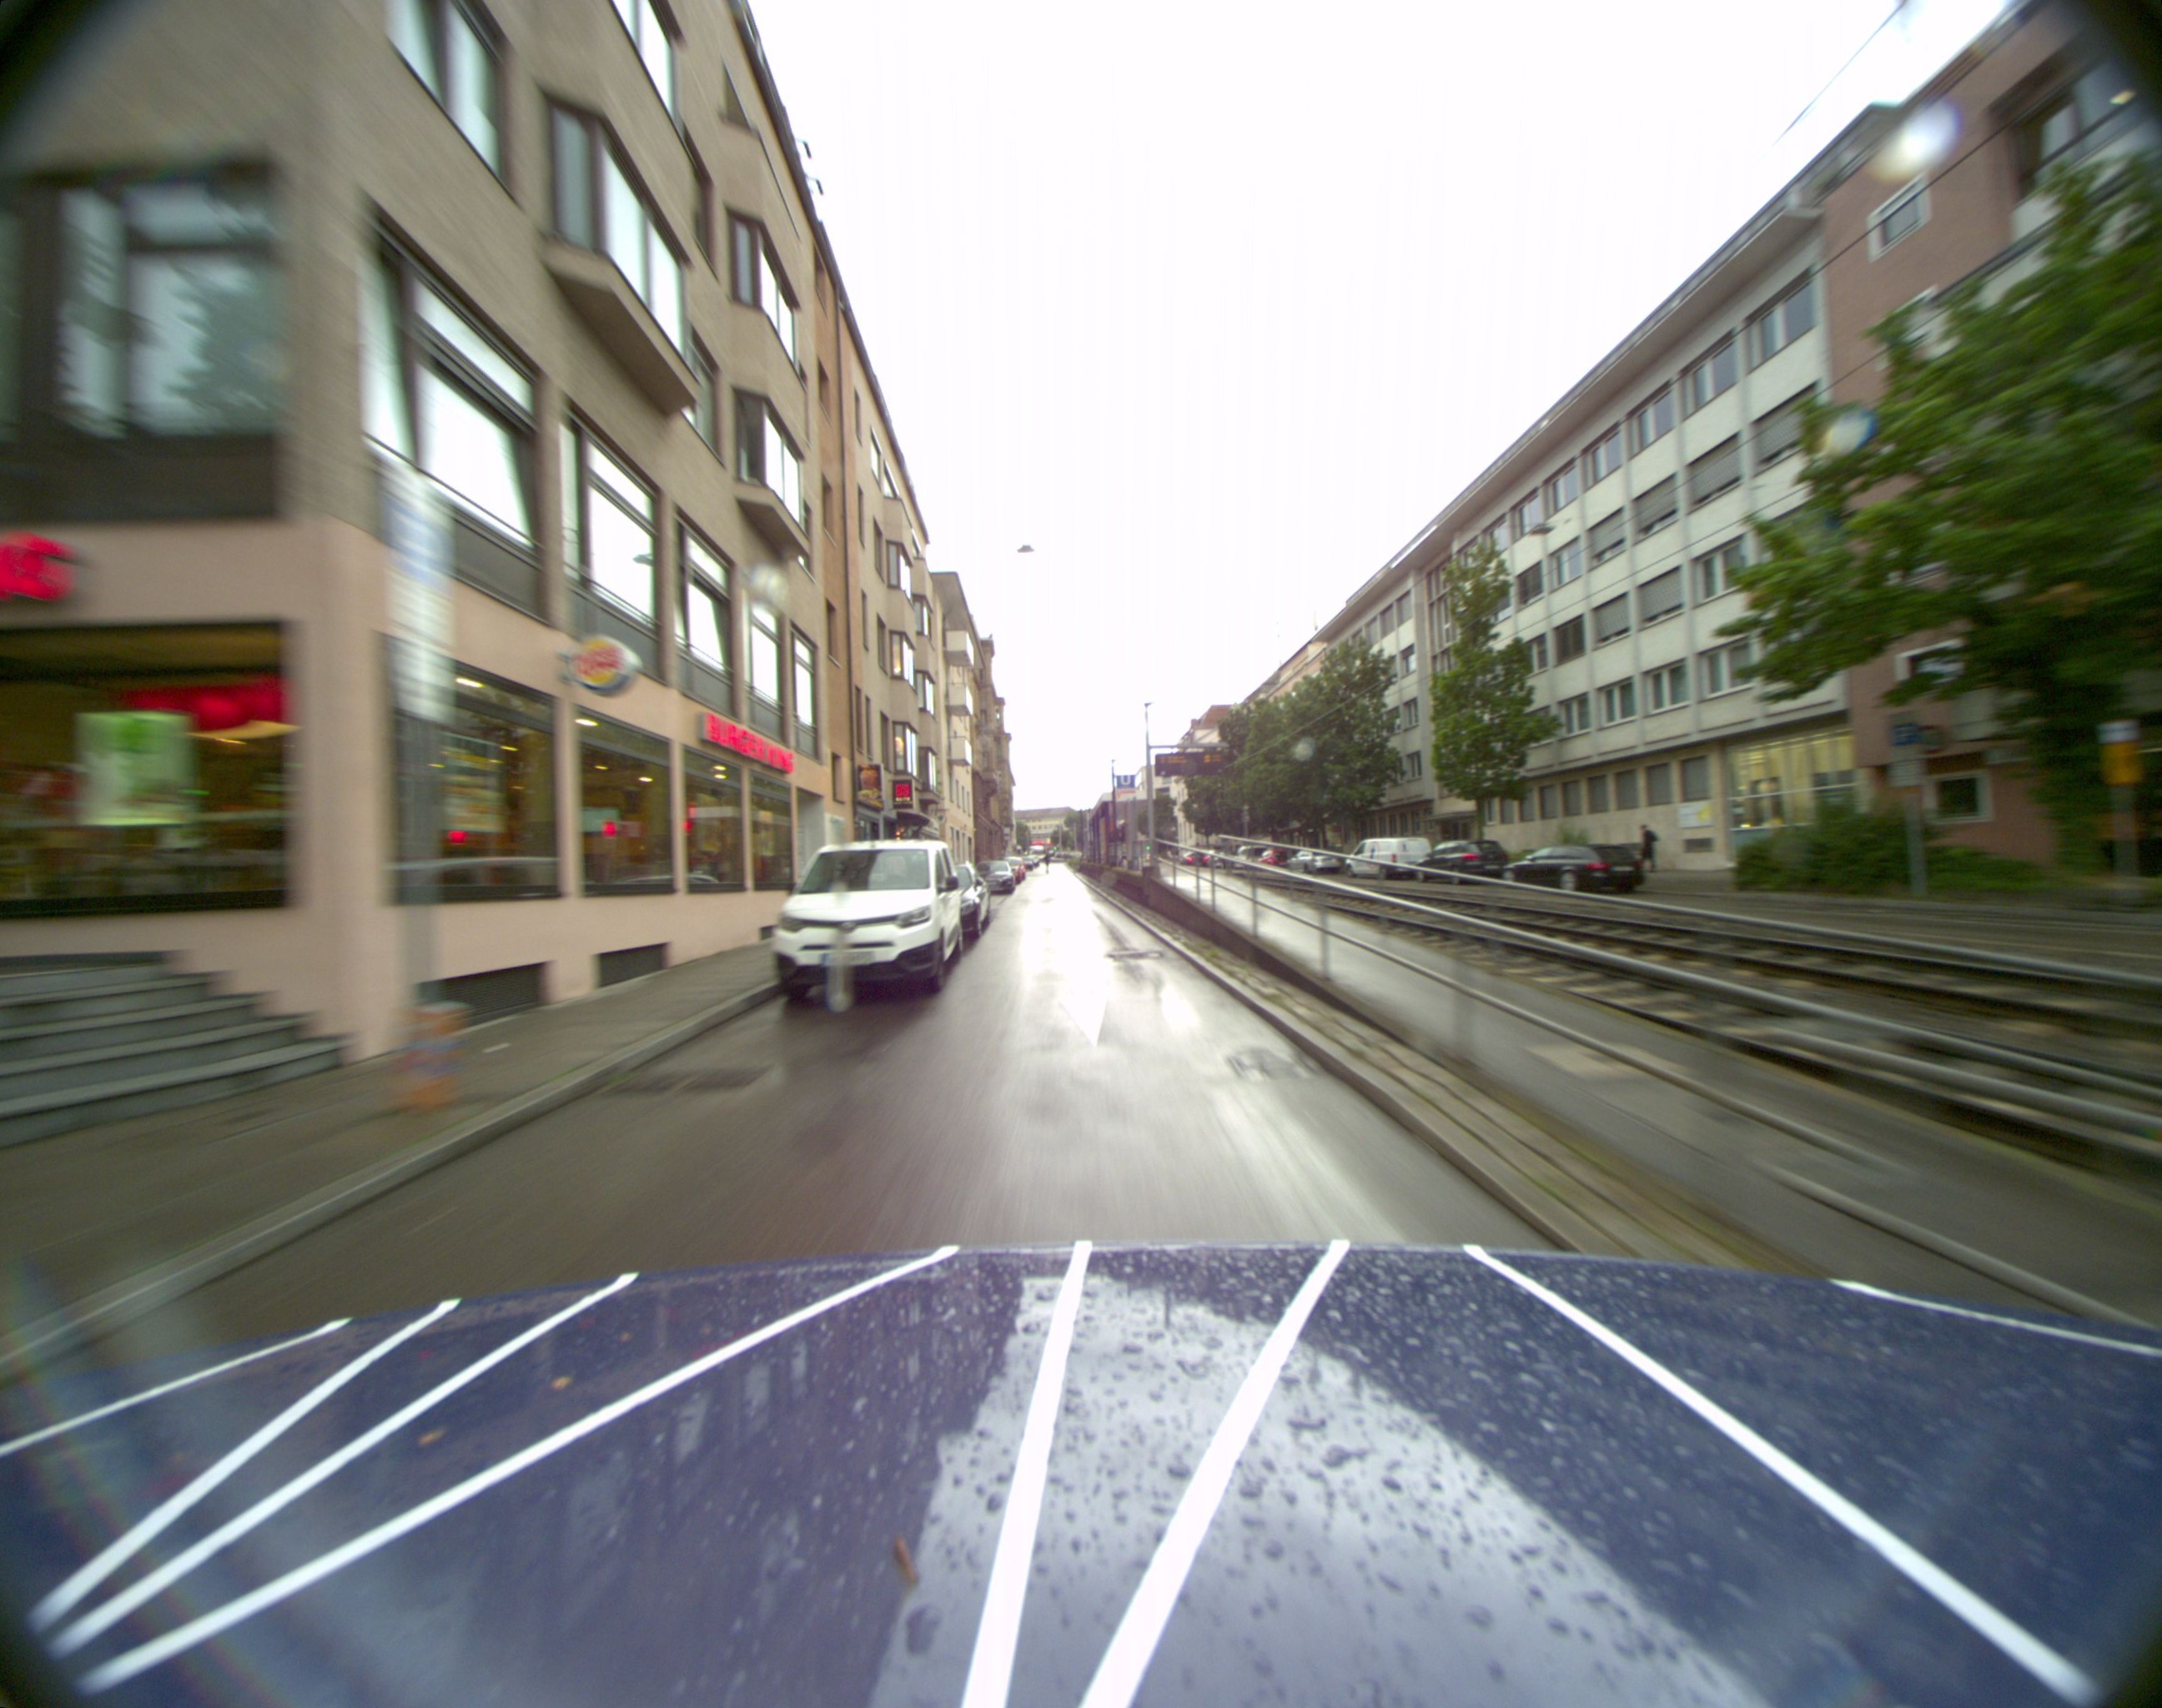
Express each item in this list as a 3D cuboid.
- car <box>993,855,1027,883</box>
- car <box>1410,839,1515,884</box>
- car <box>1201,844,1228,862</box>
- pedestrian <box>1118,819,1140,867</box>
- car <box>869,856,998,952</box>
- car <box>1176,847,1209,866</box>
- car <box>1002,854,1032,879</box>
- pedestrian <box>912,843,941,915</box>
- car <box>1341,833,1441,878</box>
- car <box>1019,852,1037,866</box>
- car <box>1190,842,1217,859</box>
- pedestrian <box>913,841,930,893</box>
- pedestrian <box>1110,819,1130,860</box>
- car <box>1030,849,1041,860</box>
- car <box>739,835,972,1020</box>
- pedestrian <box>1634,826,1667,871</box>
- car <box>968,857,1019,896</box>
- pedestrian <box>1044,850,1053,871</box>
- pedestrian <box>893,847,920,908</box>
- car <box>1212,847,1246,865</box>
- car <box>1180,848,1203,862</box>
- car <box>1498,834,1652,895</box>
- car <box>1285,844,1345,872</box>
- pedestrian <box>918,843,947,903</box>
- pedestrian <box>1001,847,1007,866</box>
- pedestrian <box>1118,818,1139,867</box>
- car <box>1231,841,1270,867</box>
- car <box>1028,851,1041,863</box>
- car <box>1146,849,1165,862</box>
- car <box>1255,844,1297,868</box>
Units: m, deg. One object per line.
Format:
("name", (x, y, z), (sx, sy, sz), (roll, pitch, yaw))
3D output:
("car", (-3.999, 0.824, 43.017), (1.650, 1.454, 3.412), (-2, 1, -2))
("car", (14.199, 0.239, 28.580), (1.643, 1.527, 4.369), (-2, 1, -2))
("car", (12.021, -0.105, 68.645), (1.643, 1.529, 4.021), (-2, 1, -2))
("pedestrian", (1.565, -0.367, 24.930), (0.585, 1.549, 0.700), (-1, 1, -5))
("car", (-2.896, 0.900, 15.871), (1.912, 1.606, 4.412), (-2, 1, -2))
("car", (9.411, 0.172, 64.455), (1.697, 1.454, 4.528), (-2, 1, -5))
("car", (-4.088, 0.768, 49.224), (1.721, 1.454, 3.443), (-2, 1, -2))
("pedestrian", (-4.281, 0.684, 21.058), (0.653, 1.937, 0.533), (-1, 1, -1))
("car", (13.974, 0.046, 34.637), (1.913, 1.834, 5.254), (-2, 1, -6))
("car", (-5.322, 0.495, 76.378), (1.628, 1.343, 3.827), (-2, 1, -4))
("car", (12.004, -0.348, 74.763), (1.662, 1.575, 4.336), (-2, 1, -4))
("pedestrian", (-5.737, 0.462, 27.284), (0.530, 1.848, 0.556), (-2, 1, -10))
("pedestrian", (1.653, -0.621, 32.099), (0.713, 1.684, 0.700), (-1, 1, -5))
("car", (-6.471, 0.000, 108.497), (1.588, 1.443, 3.976), (-2, 1, -3))
("car", (-2.606, 0.710, 10.071), (1.912, 1.796, 4.775), (-2, 1, -4))
("pedestrian", (19.764, -0.198, 26.367), (0.701, 1.549, 0.585), (-2, 1, -8))
("car", (-3.775, 0.948, 33.436), (1.912, 1.454, 4.243), (-2, 1, -3))
("pedestrian", (-2.778, 0.530, 65.582), (0.653, 1.752, 0.882), (-1, 1, -6))
("pedestrian", (-5.058, 0.670, 22.024), (0.612, 1.704, 0.581), (-1, 1, -1))
("car", (12.289, 0.149, 63.346), (1.643, 1.432, 4.727), (-2, 1, -3))
("car", (11.709, 0.034, 80.702), (1.718, 1.367, 4.456), (-2, 1, -1))
("car", (14.512, 0.252, 22.654), (1.643, 1.614, 4.369), (-2, 1, -2))
("car", (13.370, 0.182, 43.744), (1.697, 1.454, 4.528), (-2, 1, -5))
("pedestrian", (-4.599, 0.580, 23.556), (0.758, 1.809, 0.588), (-1, 1, -1))
("pedestrian", (-6.739, 0.193, 66.283), (0.489, 1.635, 0.630), (-1, 1, -6))
("pedestrian", (1.585, -0.388, 25.640), (0.585, 1.600, 0.700), (-1, 1, -5))
("car", (12.818, -0.017, 57.645), (1.678, 1.807, 4.430), (-2, 1, -3))
("car", (-5.733, 0.325, 93.815), (1.588, 1.343, 3.976), (-2, 1, -4))
("car", (8.710, 0.170, 89.402), (1.643, 1.330, 3.733), (-2, 1, -4))
("car", (13.245, 0.107, 51.737), (1.643, 1.530, 3.802), (-2, 1, -3))
